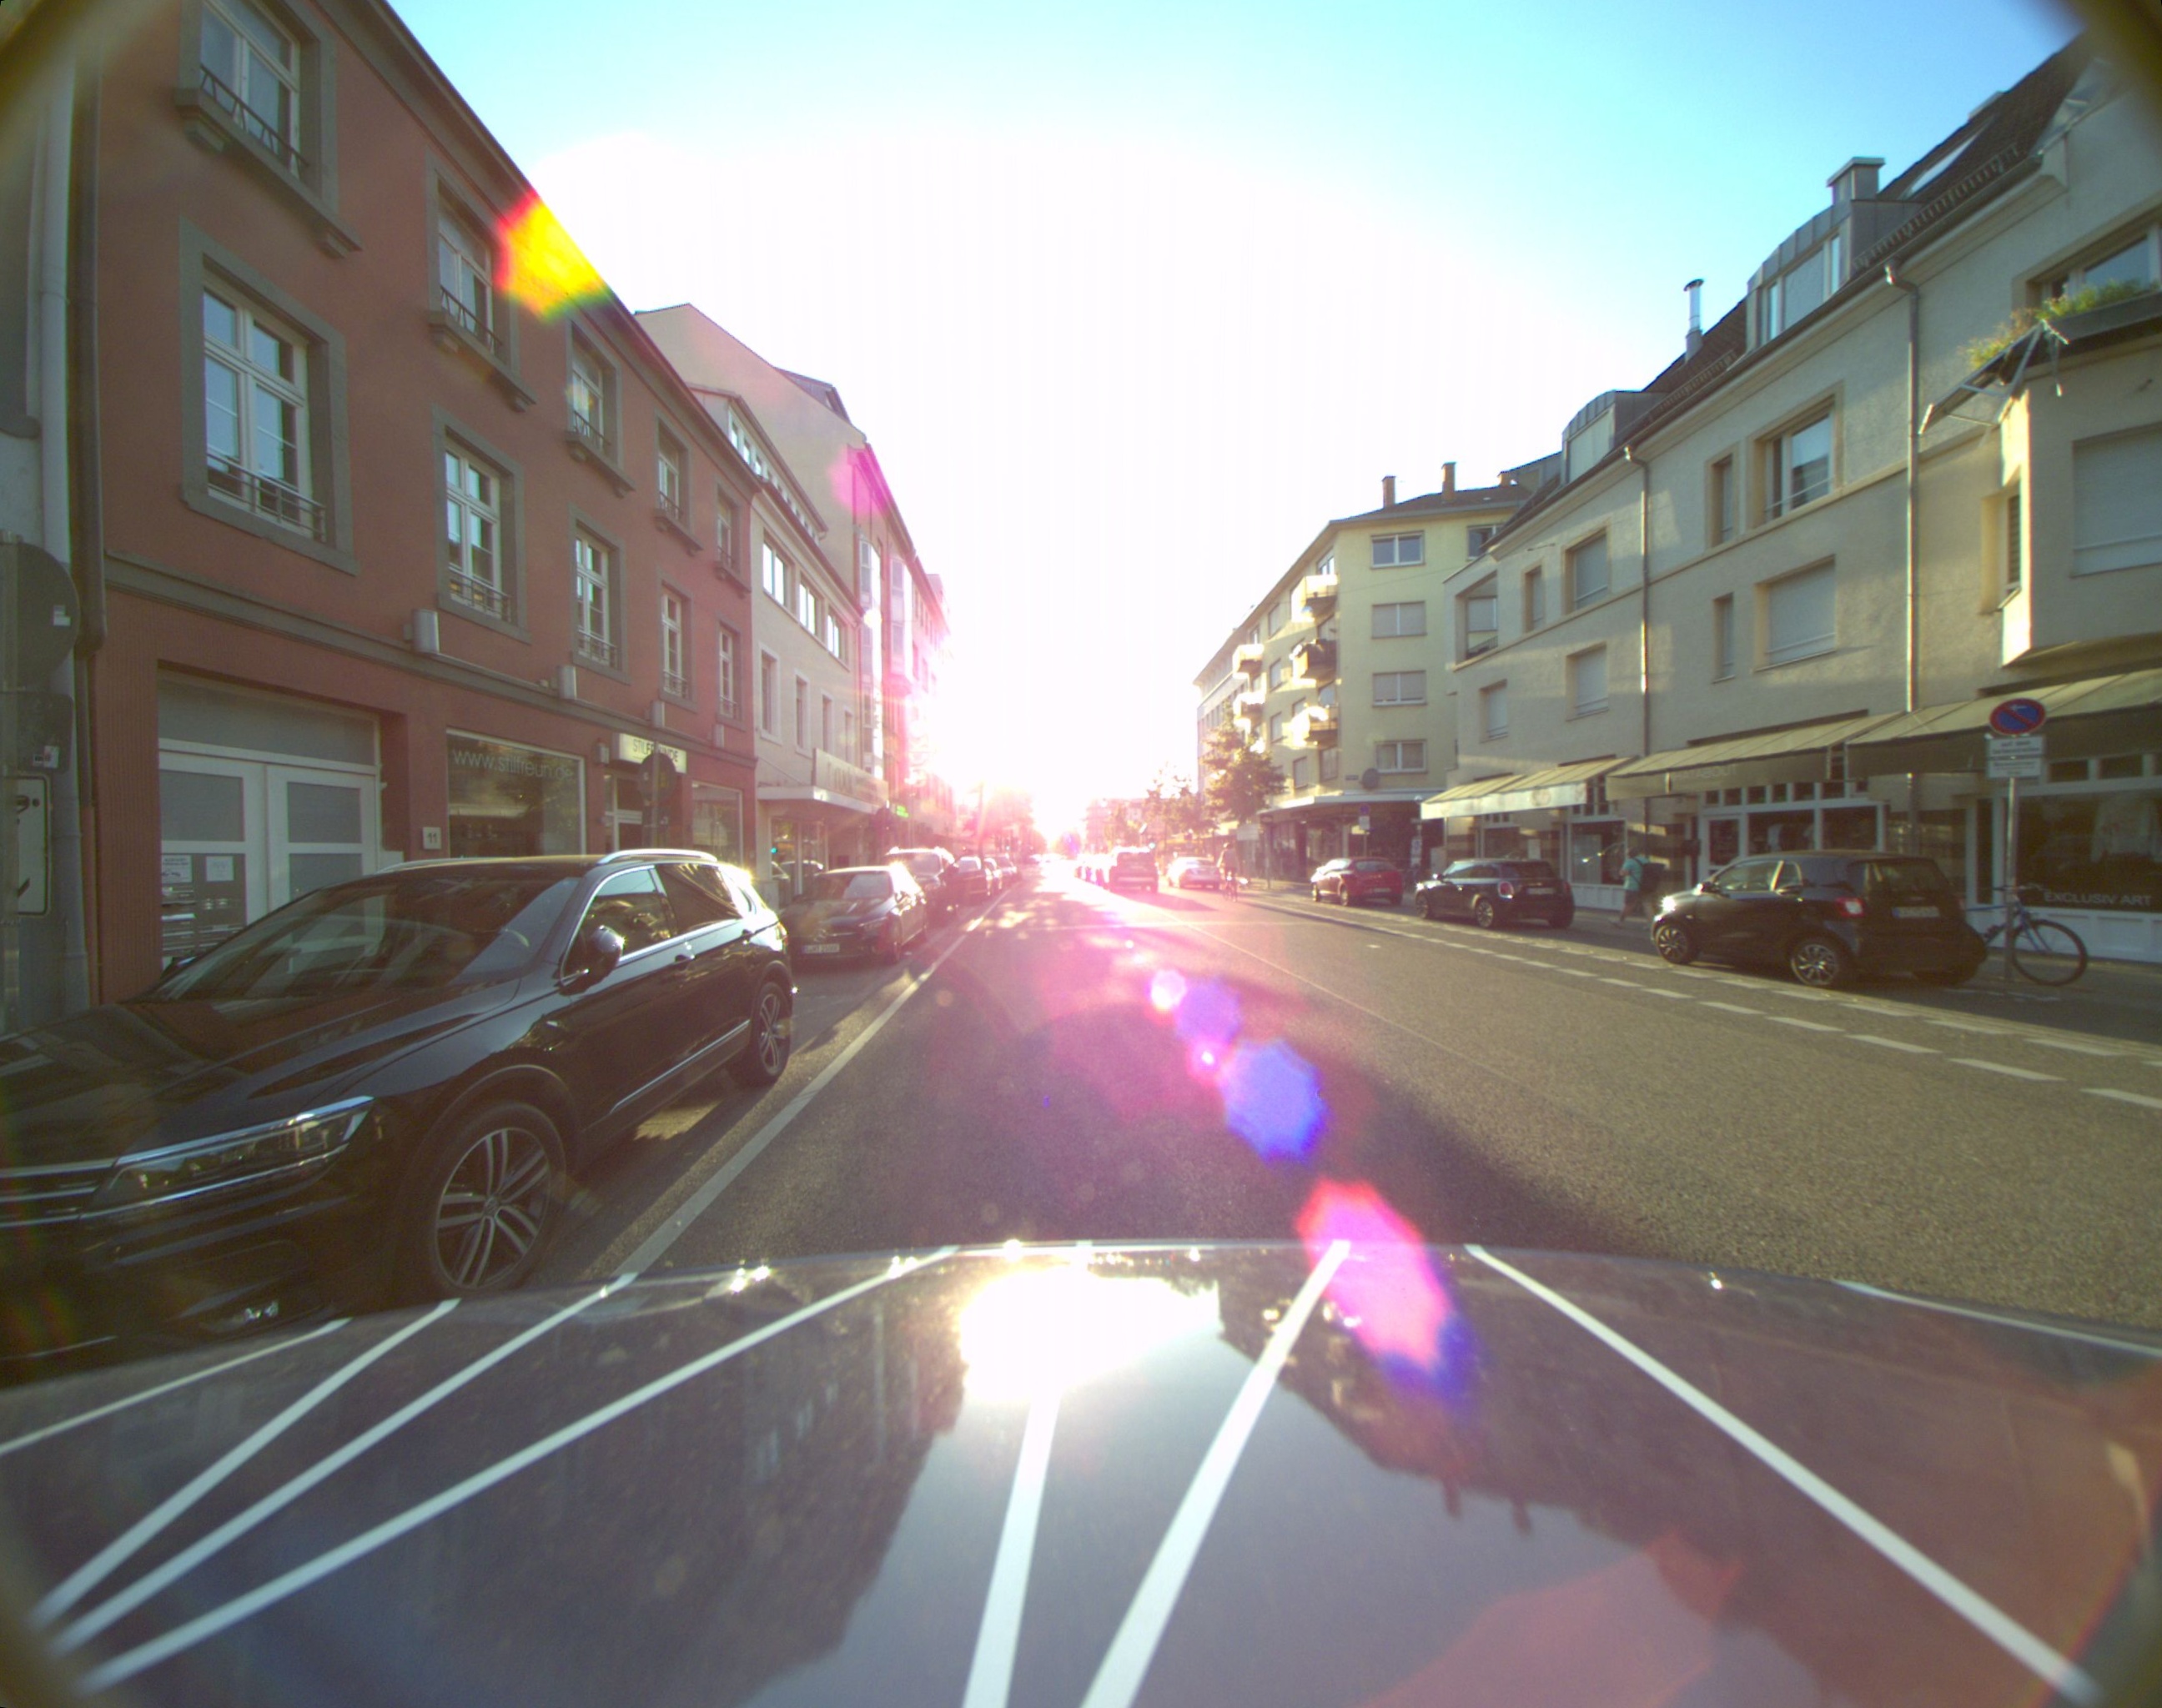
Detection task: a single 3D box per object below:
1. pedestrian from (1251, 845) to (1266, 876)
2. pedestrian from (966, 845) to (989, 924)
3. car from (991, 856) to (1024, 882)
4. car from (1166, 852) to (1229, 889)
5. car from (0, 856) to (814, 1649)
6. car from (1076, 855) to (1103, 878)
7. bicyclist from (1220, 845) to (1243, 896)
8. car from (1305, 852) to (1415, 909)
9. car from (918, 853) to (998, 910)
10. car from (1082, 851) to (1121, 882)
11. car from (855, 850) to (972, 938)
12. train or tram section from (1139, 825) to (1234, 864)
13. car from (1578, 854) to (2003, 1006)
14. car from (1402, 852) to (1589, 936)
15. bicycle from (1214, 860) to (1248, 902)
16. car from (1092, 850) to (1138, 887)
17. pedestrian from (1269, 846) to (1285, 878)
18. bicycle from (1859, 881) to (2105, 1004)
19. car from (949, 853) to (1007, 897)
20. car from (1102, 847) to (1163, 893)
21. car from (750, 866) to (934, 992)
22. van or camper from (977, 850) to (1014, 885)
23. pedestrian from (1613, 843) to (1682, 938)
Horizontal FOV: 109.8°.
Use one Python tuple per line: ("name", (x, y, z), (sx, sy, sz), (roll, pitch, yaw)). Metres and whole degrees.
("pedestrian", (10.471, 0.392, 44.812), (0.720, 1.781, 0.666), (-1, 1, -1))
("pedestrian", (-2.481, 0.723, 18.255), (0.485, 1.847, 0.539), (-1, 1, -10))
("car", (-4.501, 0.906, 46.858), (1.694, 1.494, 3.786), (0, 1, -1))
("car", (5.276, 0.705, 35.076), (1.999, 1.595, 4.403), (0, 0, -3))
("car", (-2.988, 0.915, 3.860), (1.799, 1.688, 4.458), (-3, 1, -3))
("car", (0.539, 0.791, 51.218), (1.503, 1.426, 4.026), (1, 1, -3))
("bicyclist", (4.735, 0.523, 23.978), (0.548, 1.571, 0.803), (-1, 1, 1))
("car", (8.441, 0.747, 23.334), (1.794, 1.571, 3.785), (-1, 1, -4))
("car", (-3.986, 0.833, 25.425), (1.999, 1.645, 4.626), (-2, 1, -1))
("car", (1.151, 0.657, 43.760), (1.843, 1.639, 4.298), (1, 1, -3))
("car", (-3.895, 0.830, 18.656), (1.999, 1.767, 5.316), (-2, 1, -4))
("train or tram section", (11.573, -1.065, 82.710), (10.456, 3.788, 3.139), (-3, 1, -32))
("car", (8.925, 0.812, 10.126), (1.794, 1.571, 3.965), (-1, 1, -4))
("car", (8.752, 0.752, 16.464), (1.794, 1.571, 3.785), (-1, 1, -4))
("bicycle", (4.738, 0.839, 24.179), (0.665, 1.235, 2.130), (1, 1, 1))
("car", (1.598, 0.665, 36.922), (1.843, 1.639, 4.299), (1, 1, -2))
("pedestrian", (11.038, 0.453, 42.757), (0.720, 1.781, 0.666), (-1, 1, -1))
("bicycle", (10.503, 0.969, 8.993), (0.560, 1.199, 1.977), (0, 1, 0))
("car", (-4.169, 0.799, 31.371), (1.999, 1.645, 4.478), (-1, 1, -3))
("car", (1.936, 0.565, 29.966), (1.843, 1.639, 4.298), (1, 1, -3))
("car", (-3.602, 1.028, 12.323), (1.689, 1.479, 4.409), (-3, 1, -3))
("van or camper", (-4.684, 0.684, 41.029), (1.794, 1.763, 4.554), (-1, 1, -9))
("pedestrian", (10.568, 0.659, 14.205), (0.720, 1.724, 0.738), (-1, 1, -2))
